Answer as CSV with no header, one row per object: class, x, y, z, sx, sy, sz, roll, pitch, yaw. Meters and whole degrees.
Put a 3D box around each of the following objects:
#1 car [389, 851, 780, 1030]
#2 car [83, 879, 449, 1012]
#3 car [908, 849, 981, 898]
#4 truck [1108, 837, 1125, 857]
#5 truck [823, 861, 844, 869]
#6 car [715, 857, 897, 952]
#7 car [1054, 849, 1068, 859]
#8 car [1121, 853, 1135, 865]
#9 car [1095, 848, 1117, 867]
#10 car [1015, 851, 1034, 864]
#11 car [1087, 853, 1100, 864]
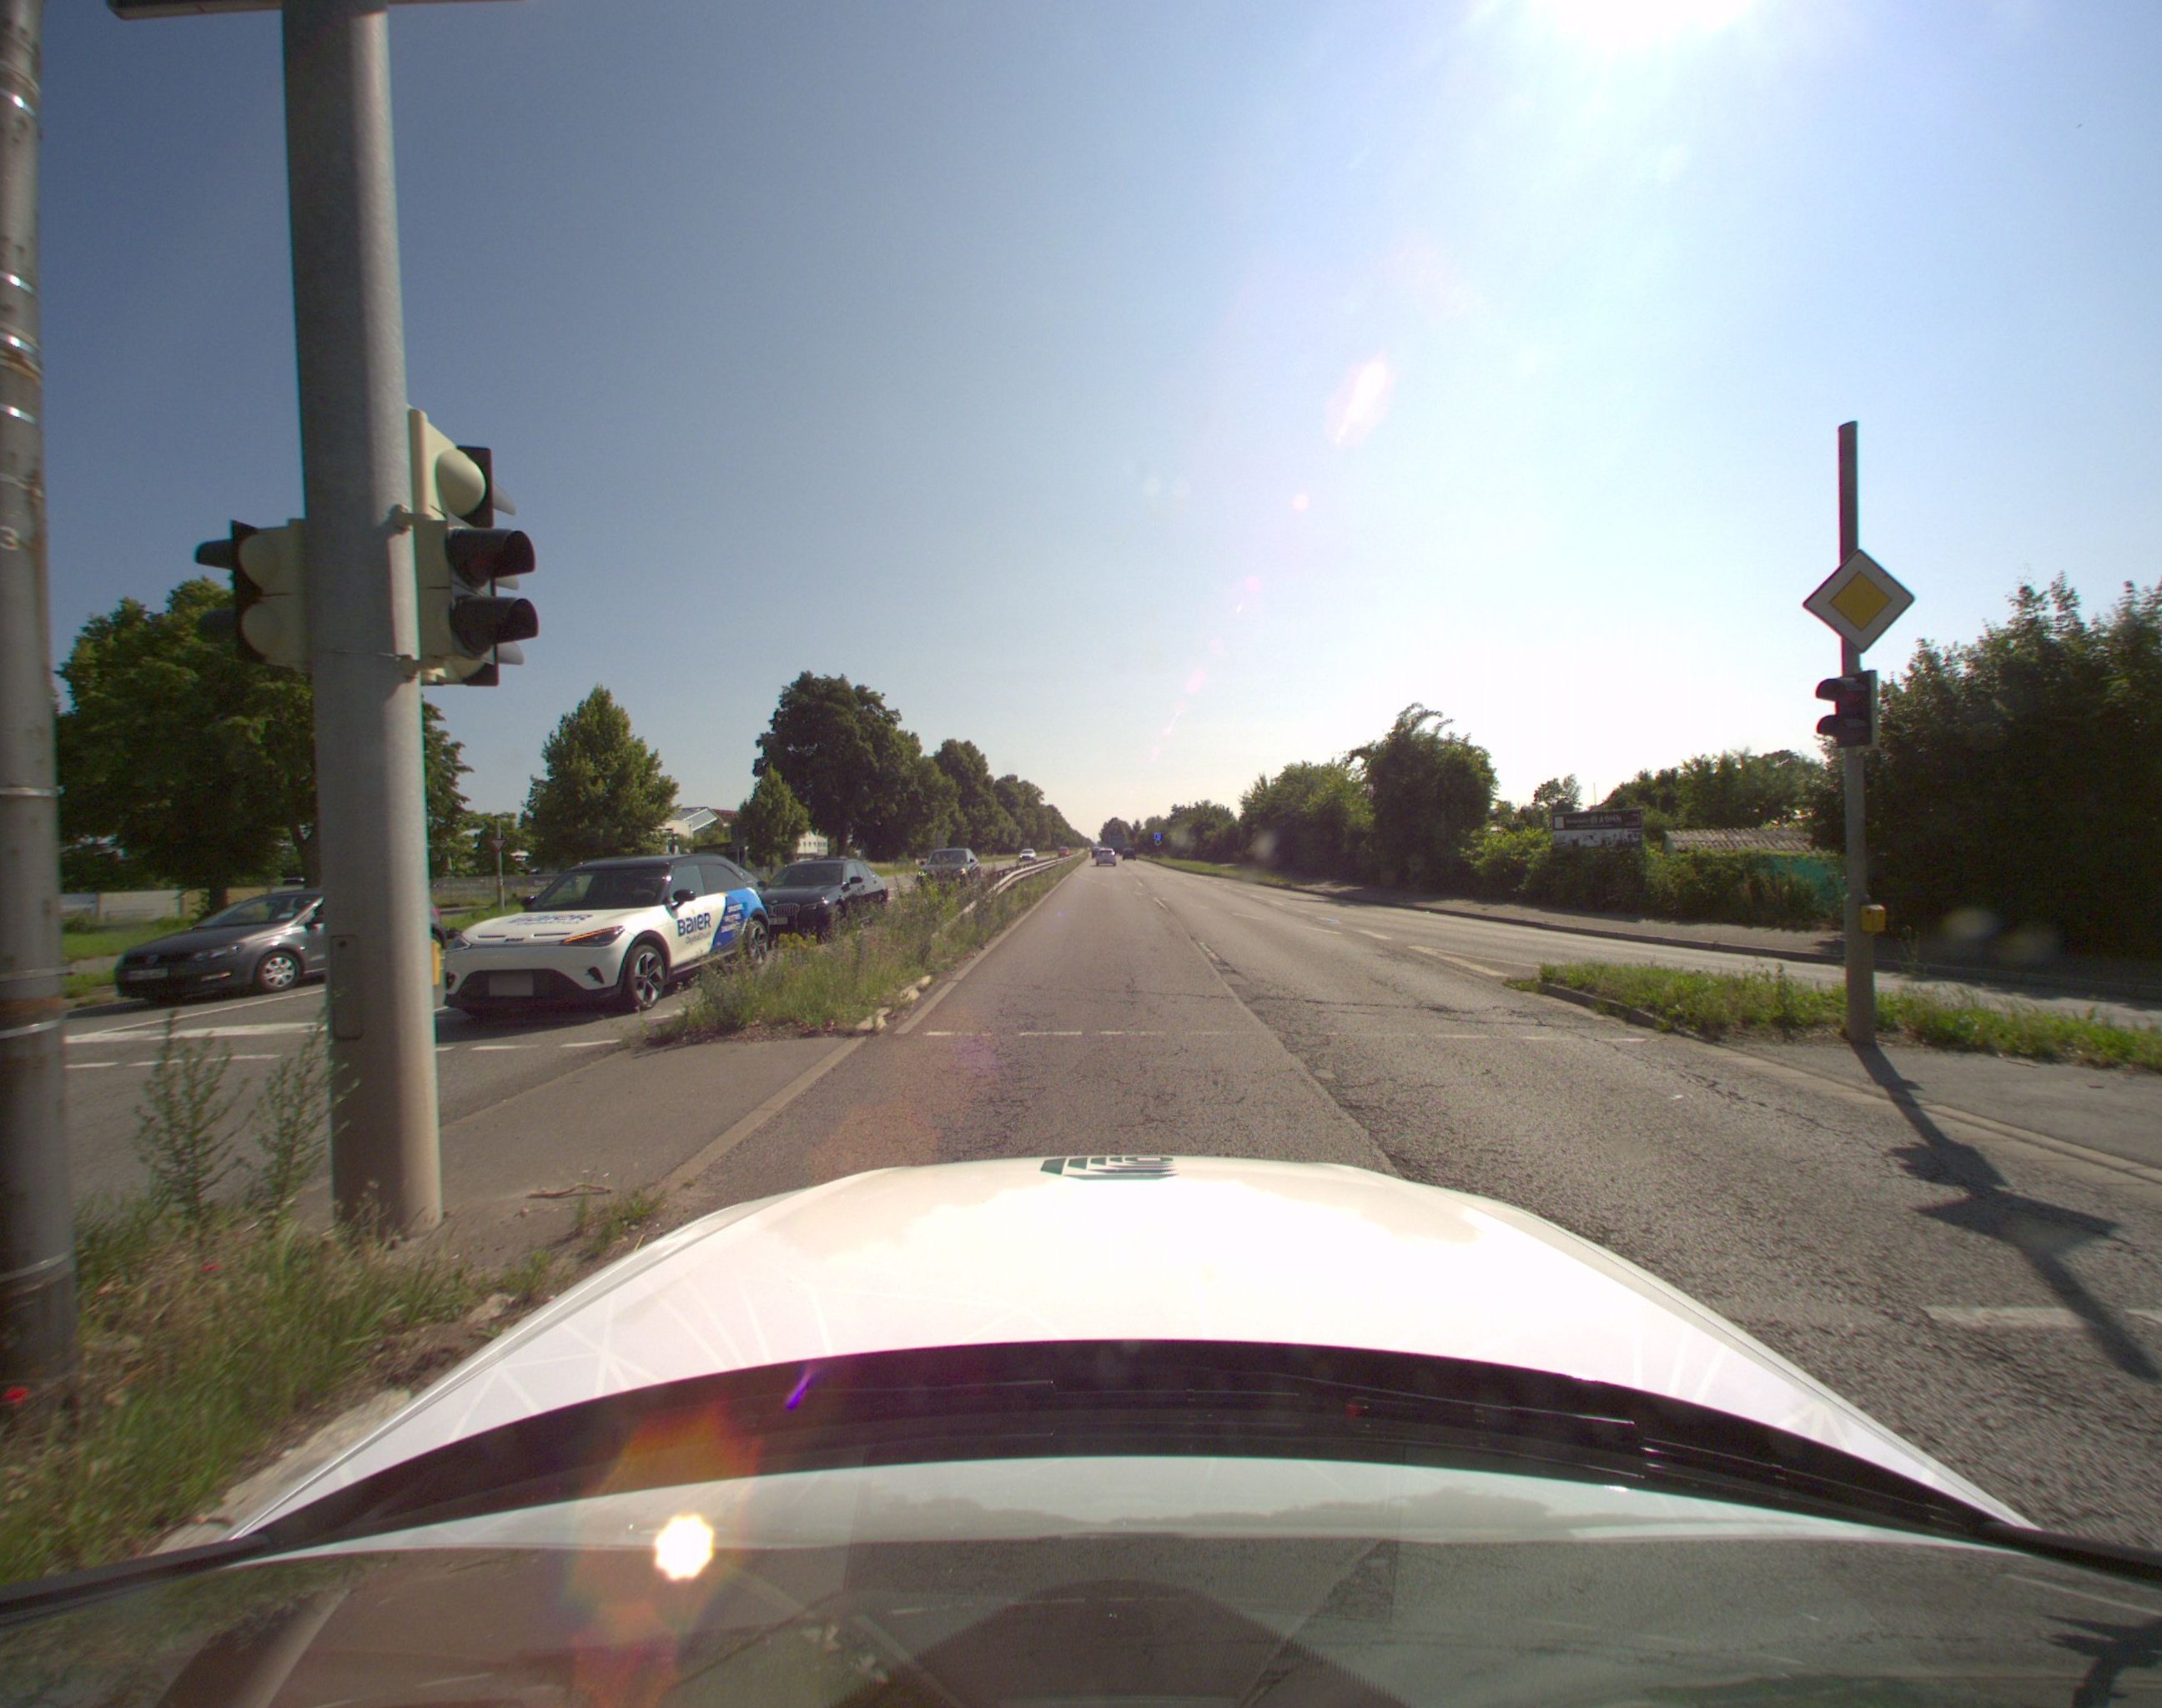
car,-5.470,0.816,9.803,2.003,1.610,4.211,-2,0,1
car,-11.675,1.207,12.089,1.480,1.414,3.764,-4,0,2
car,-4.934,0.655,30.081,1.840,1.594,4.617,-2,0,1
truck,6.421,-1.300,149.495,2.881,3.428,9.173,-2,0,2
truck,-60.561,2.651,199.337,4.485,2.013,2.052,-1,0,0
car,-5.114,0.849,15.967,1.810,1.485,4.894,-2,0,1
car,-3.014,0.009,124.846,1.906,1.502,4.091,-2,0,0
car,5.667,0.573,97.569,1.566,1.414,3.279,-1,0,2
car,2.151,0.264,69.552,1.792,1.552,4.003,-1,1,2
car,-6.708,0.390,96.856,1.987,1.502,4.091,-2,0,0
car,1.691,0.603,109.554,1.566,1.414,3.279,-2,0,2
